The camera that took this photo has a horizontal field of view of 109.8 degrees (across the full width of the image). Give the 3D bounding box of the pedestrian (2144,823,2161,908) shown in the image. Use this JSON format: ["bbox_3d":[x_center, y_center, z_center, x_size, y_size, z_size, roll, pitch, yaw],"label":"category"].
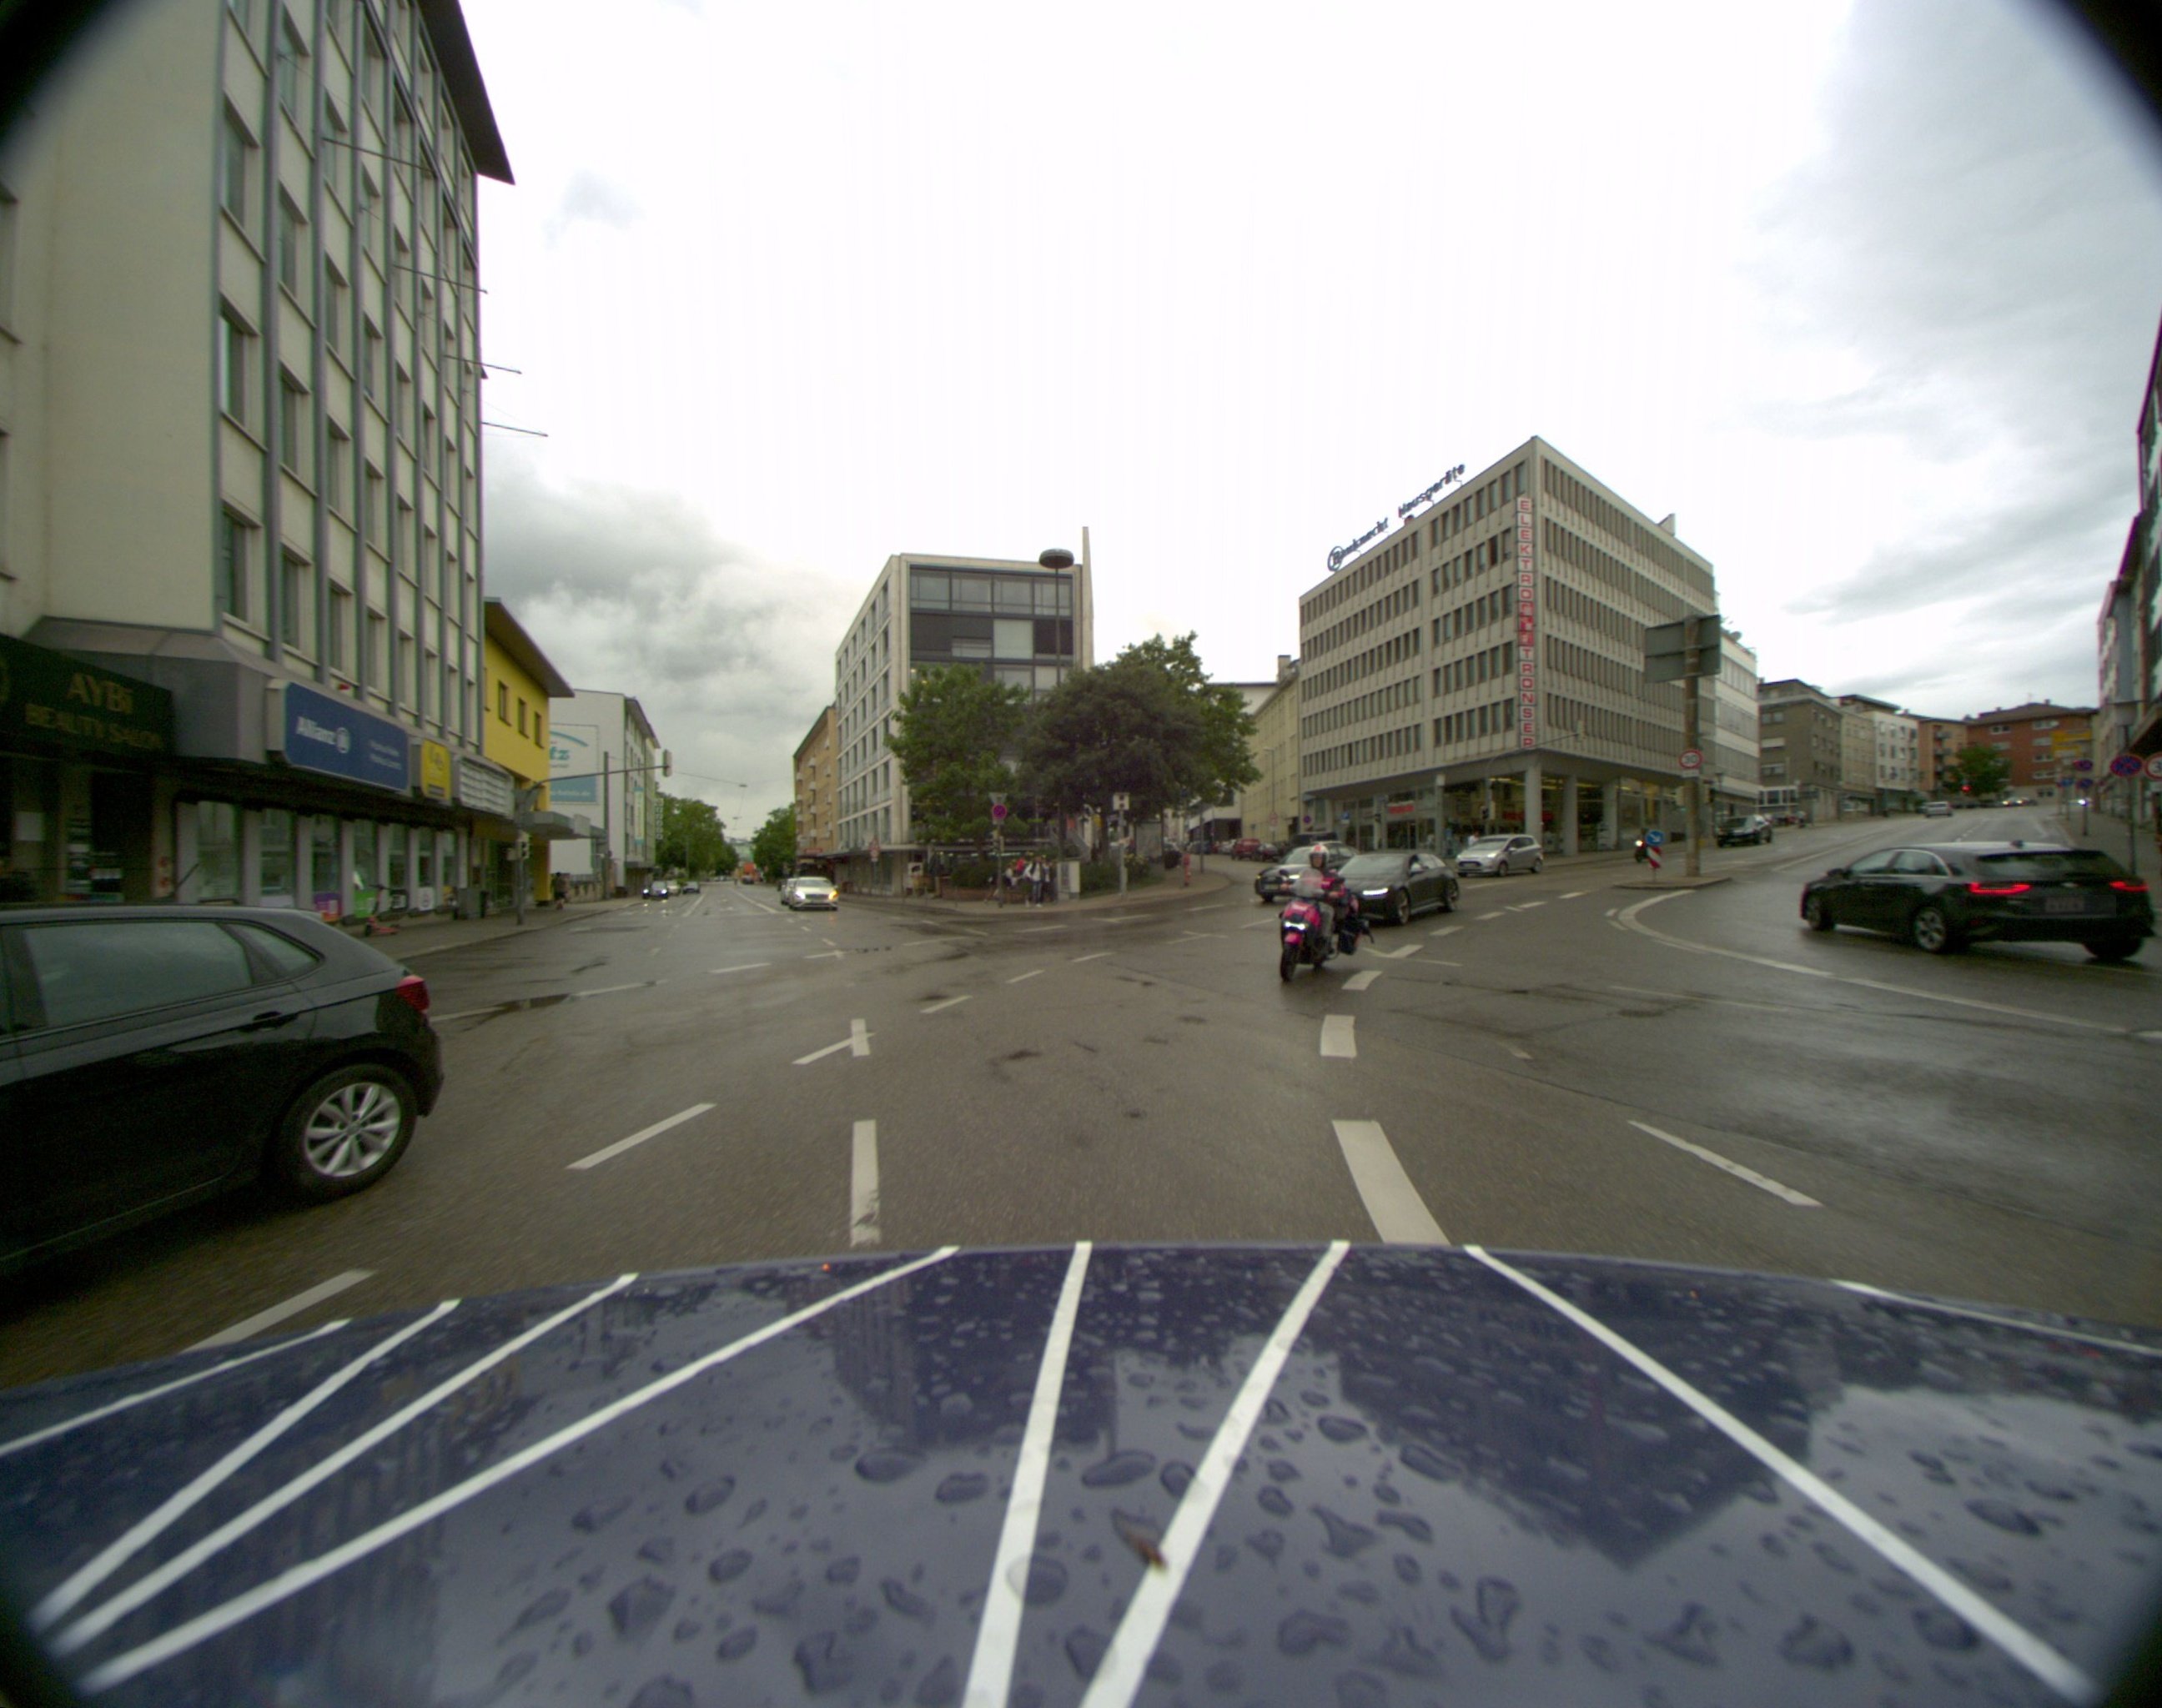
[{"bbox_3d":[22.769,0.220,15.756,0.744,1.737,0.731,-3,1,-42],"label":"pedestrian"}]

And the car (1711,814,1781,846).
[{"bbox_3d":[38.108,-1.365,43.514,4.006,1.674,1.995,-3,1,-33],"label":"car"}]

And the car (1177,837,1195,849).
[{"bbox_3d":[15.942,-1.610,115.791,2.026,1.639,4.428,-3,0,1],"label":"car"}]

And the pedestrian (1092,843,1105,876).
[{"bbox_3d":[1.005,0.323,43.351,0.592,1.803,0.704,-3,0,4],"label":"pedestrian"}]

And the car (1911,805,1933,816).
[{"bbox_3d":[115.187,-5.908,104.000,3.454,1.364,1.627,-3,0,-36],"label":"car"}]

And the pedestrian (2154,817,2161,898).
[{"bbox_3d":[23.650,0.053,16.236,0.701,1.737,0.731,-3,1,-42],"label":"pedestrian"}]

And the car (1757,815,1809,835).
[{"bbox_3d":[76.415,-3.171,82.712,2.004,2.002,3.989,-3,1,-42],"label":"car"}]

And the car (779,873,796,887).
[{"bbox_3d":[-37.107,3.292,95.907,1.830,1.565,3.993,-3,0,-23],"label":"car"}]

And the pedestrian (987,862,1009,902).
[{"bbox_3d":[-3.829,1.280,35.104,0.789,1.803,0.592,-3,0,-21],"label":"pedestrian"}]

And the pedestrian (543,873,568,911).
[{"bbox_3d":[-23.685,1.689,34.278,0.738,1.636,0.640,-3,1,-24],"label":"pedestrian"}]

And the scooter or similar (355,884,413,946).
[{"bbox_3d":[-16.477,1.413,17.990,0.377,1.352,1.147,-2,1,-9],"label":"scooter or similar"}]

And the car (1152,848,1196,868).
[{"bbox_3d":[6.702,0.271,54.693,3.044,1.176,2.052,-3,1,7],"label":"car"}]

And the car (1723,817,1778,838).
[{"bbox_3d":[67.449,-2.684,76.558,1.750,1.945,3.989,-3,1,-44],"label":"car"}]

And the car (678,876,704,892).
[{"bbox_3d":[-45.147,3.432,87.987,2.004,1.610,4.113,-2,1,-37],"label":"car"}]

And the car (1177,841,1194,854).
[{"bbox_3d":[16.645,-1.029,121.566,2.026,1.825,4.428,-3,0,1],"label":"car"}]

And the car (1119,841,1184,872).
[{"bbox_3d":[4.033,0.120,43.117,3.542,1.550,1.740,-3,2,7],"label":"car"}]

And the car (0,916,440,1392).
[{"bbox_3d":[-4.429,1.063,2.102,1.741,1.422,3.882,-3,-1,6],"label":"car"}]

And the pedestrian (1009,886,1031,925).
[{"bbox_3d":[-2.915,2.447,36.106,0.789,1.803,0.592,-3,0,-21],"label":"pedestrian"}]

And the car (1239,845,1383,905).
[{"bbox_3d":[6.970,0.581,22.900,4.110,1.538,1.868,-3,1,-32],"label":"car"}]

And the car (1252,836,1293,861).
[{"bbox_3d":[14.131,-0.389,56.237,2.025,1.739,4.615,-3,0,3],"label":"car"}]

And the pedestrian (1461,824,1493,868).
[{"bbox_3d":[18.293,-0.360,35.148,0.994,2.002,0.947,-1,1,2],"label":"pedestrian"}]

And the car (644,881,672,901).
[{"bbox_3d":[-35.100,3.037,63.123,1.788,1.444,3.992,-3,0,-27],"label":"car"}]

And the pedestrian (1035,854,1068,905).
[{"bbox_3d":[-1.069,0.940,27.573,0.784,1.739,0.787,-7,1,-22],"label":"pedestrian"}]

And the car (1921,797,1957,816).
[{"bbox_3d":[89.647,-4.948,79.377,4.006,1.728,1.995,-3,0,-35],"label":"car"}]

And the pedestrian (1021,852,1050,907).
[{"bbox_3d":[-1.639,0.909,27.049,0.593,1.863,0.787,-7,1,-22],"label":"pedestrian"}]

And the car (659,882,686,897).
[{"bbox_3d":[-43.502,3.750,80.915,2.003,1.444,3.990,-3,0,-36],"label":"car"}]

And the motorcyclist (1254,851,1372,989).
[{"bbox_3d":[2.943,0.782,9.619,1.090,1.595,0.955,-1,1,41],"label":"motorcyclist"}]

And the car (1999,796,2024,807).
[{"bbox_3d":[134.419,-7.600,109.722,3.862,1.428,1.825,-3,0,-32],"label":"car"}]

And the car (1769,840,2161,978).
[{"bbox_3d":[12.321,0.631,10.844,1.996,1.542,4.383,-3,0,17],"label":"car"}]

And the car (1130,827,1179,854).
[{"bbox_3d":[6.684,-1.201,68.730,3.826,2.252,1.988,-2,2,29],"label":"car"}]

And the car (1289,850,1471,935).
[{"bbox_3d":[6.672,0.725,16.635,1.994,1.483,4.744,0,1,45],"label":"car"}]

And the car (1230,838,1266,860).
[{"bbox_3d":[13.852,-0.422,63.245,1.932,1.662,4.445,-3,0,1],"label":"car"}]

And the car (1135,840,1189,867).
[{"bbox_3d":[5.431,-0.052,51.213,3.543,1.550,1.740,-3,2,4],"label":"car"}]

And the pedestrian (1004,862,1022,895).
[{"bbox_3d":[-3.309,1.179,36.756,0.637,1.523,0.592,-3,0,-21],"label":"pedestrian"}]

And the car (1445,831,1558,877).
[{"bbox_3d":[16.215,-0.005,29.263,4.110,1.574,1.995,-3,0,-32],"label":"car"}]

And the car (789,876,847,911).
[{"bbox_3d":[-11.432,1.660,32.877,1.977,1.379,3.992,1,-2,-25],"label":"car"}]

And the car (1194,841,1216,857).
[{"bbox_3d":[14.598,-0.571,89.962,2.025,1.830,4.045,-3,0,2],"label":"car"}]

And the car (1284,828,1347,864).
[{"bbox_3d":[14.553,-0.467,47.406,2.097,2.078,4.612,-3,0,-5],"label":"car"}]

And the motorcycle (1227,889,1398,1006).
[{"bbox_3d":[3.003,1.101,9.704,1.310,1.129,2.189,0,2,40],"label":"motorcycle"}]

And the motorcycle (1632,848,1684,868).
[{"bbox_3d":[25.644,0.175,33.749,2.398,0.837,0.711,-2,1,-22],"label":"motorcycle"}]

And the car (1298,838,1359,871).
[{"bbox_3d":[13.487,-0.002,41.757,2.001,1.622,4.615,-3,0,3],"label":"car"}]

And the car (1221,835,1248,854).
[{"bbox_3d":[16.383,-0.949,81.389,2.026,1.890,4.428,-3,0,1],"label":"car"}]

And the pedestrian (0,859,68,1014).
[{"bbox_3d":[-12.369,0.930,8.592,0.753,1.712,0.754,-3,0,7],"label":"pedestrian"}]

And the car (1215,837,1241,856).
[{"bbox_3d":[16.670,-0.800,86.334,2.026,1.982,4.428,-3,0,1],"label":"car"}]

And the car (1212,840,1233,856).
[{"bbox_3d":[16.789,-0.728,90.440,1.748,1.784,3.667,-3,0,1],"label":"car"}]

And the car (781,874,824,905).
[{"bbox_3d":[-15.122,1.896,41.147,1.812,1.489,3.992,-3,0,-25],"label":"car"}]

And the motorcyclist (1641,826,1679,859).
[{"bbox_3d":[25.778,-0.495,33.818,1.115,1.434,0.909,-2,1,-23],"label":"motorcyclist"}]
